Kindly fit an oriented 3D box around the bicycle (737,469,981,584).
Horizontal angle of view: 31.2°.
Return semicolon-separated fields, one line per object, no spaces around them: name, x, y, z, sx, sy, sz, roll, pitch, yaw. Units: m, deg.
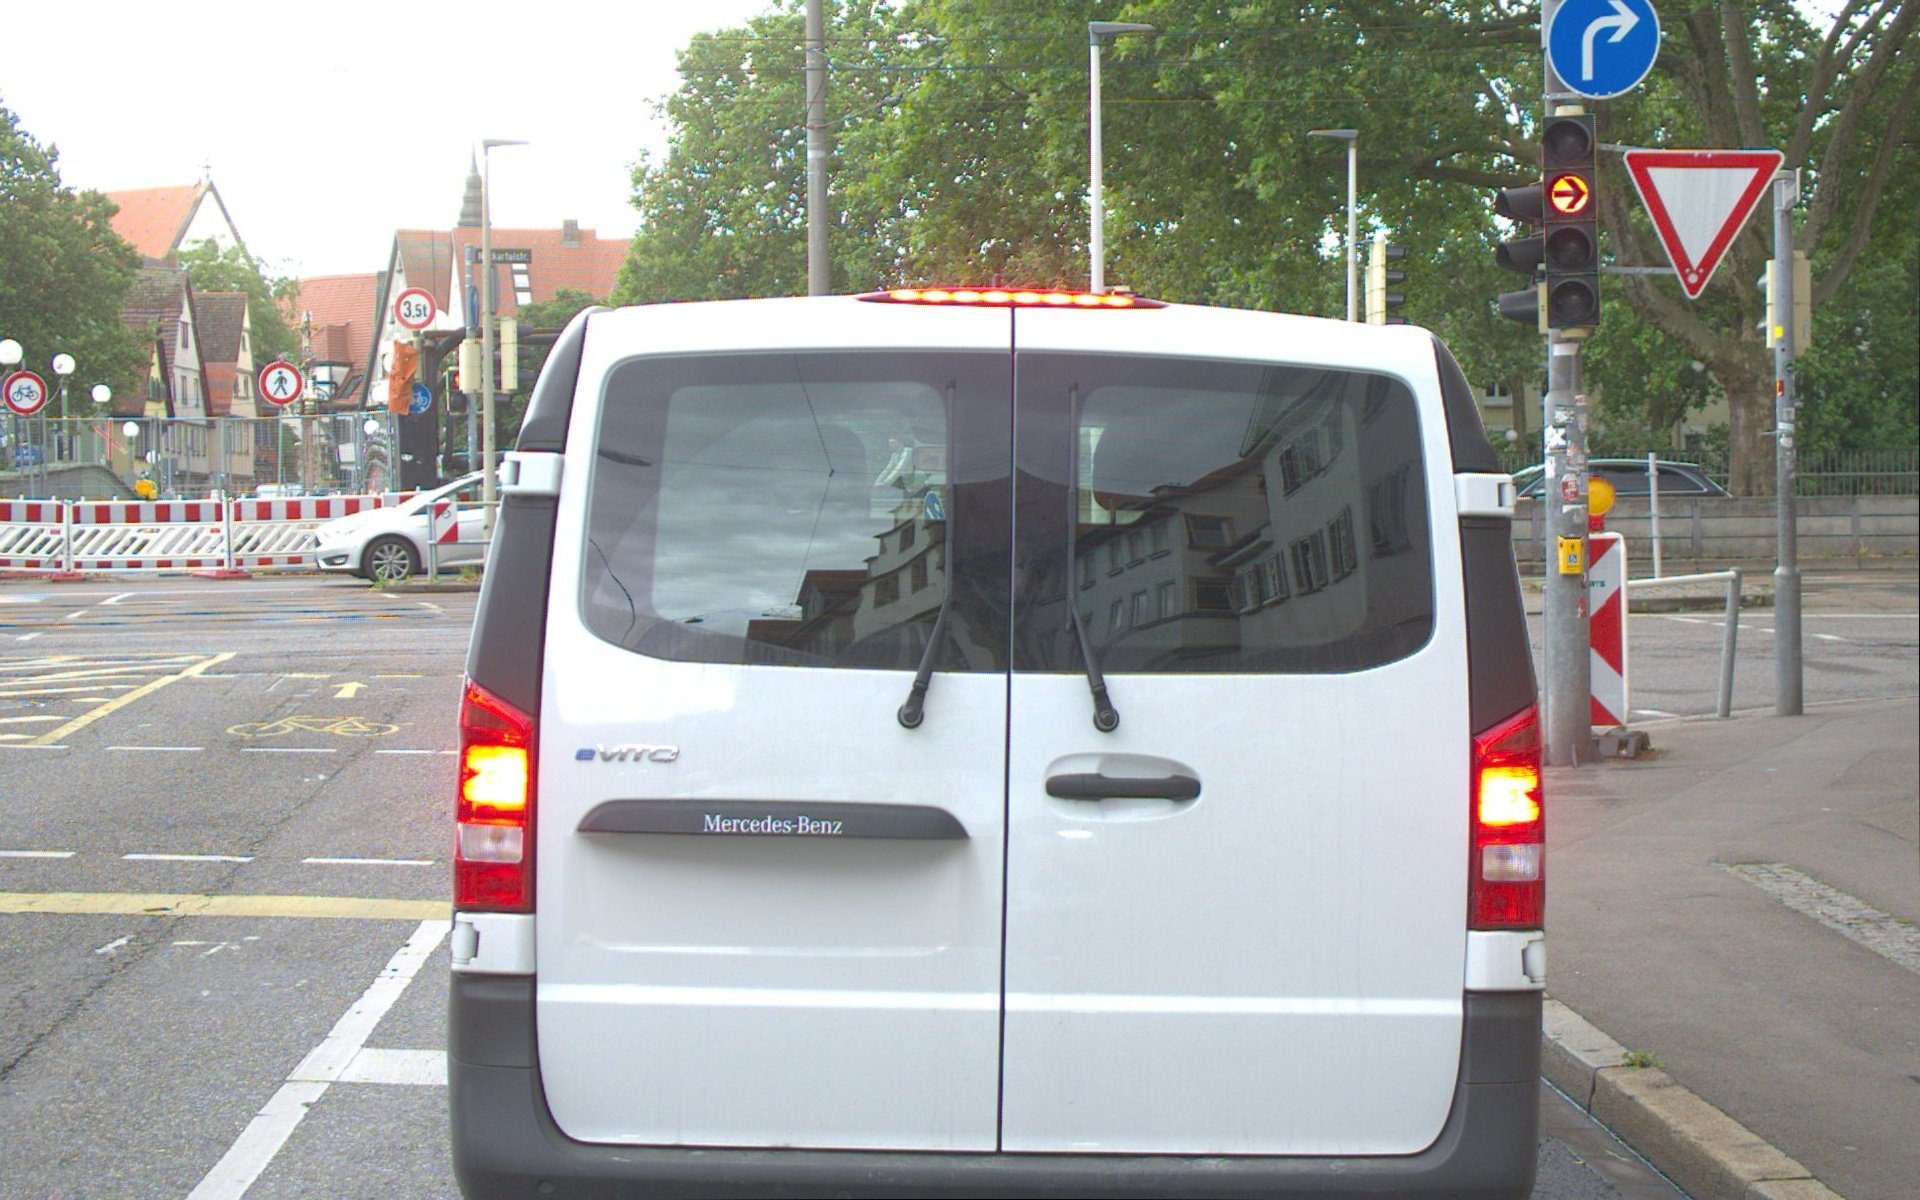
bicycle;-1.421;-1.026;47.955;3.144;1.564;1.471;-1;1;-14

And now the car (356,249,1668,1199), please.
car;0.022;0.331;7.399;1.993;1.916;4.250;1;3;-1

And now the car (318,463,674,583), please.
car;-5.815;-0.963;42.852;4.274;1.447;1.900;0;1;-11

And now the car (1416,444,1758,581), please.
car;8.230;-1.125;45.328;3.986;1.734;2.000;0;0;-10

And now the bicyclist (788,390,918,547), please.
bicyclist;-1.494;-1.827;47.855;1.563;2.148;1.248;-1;1;-14
